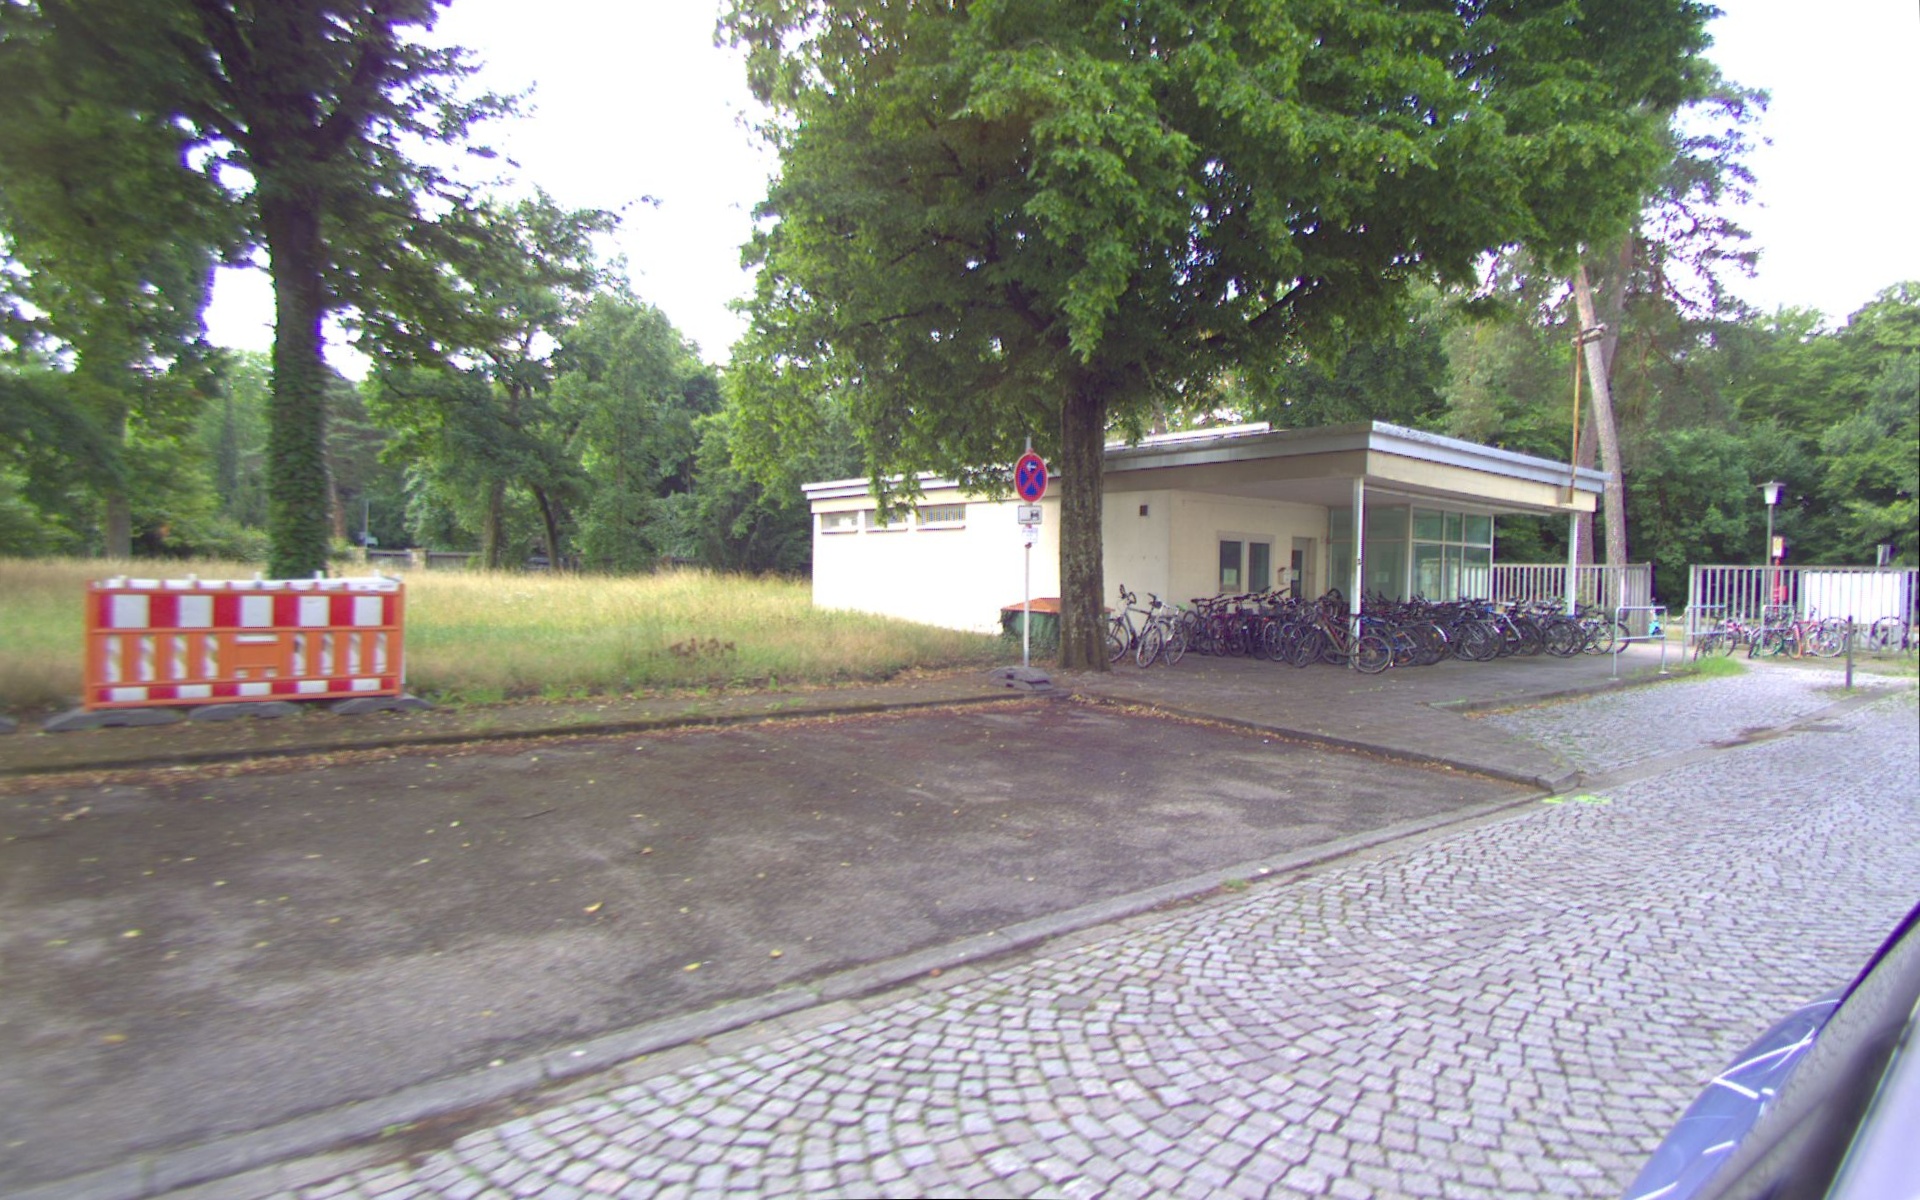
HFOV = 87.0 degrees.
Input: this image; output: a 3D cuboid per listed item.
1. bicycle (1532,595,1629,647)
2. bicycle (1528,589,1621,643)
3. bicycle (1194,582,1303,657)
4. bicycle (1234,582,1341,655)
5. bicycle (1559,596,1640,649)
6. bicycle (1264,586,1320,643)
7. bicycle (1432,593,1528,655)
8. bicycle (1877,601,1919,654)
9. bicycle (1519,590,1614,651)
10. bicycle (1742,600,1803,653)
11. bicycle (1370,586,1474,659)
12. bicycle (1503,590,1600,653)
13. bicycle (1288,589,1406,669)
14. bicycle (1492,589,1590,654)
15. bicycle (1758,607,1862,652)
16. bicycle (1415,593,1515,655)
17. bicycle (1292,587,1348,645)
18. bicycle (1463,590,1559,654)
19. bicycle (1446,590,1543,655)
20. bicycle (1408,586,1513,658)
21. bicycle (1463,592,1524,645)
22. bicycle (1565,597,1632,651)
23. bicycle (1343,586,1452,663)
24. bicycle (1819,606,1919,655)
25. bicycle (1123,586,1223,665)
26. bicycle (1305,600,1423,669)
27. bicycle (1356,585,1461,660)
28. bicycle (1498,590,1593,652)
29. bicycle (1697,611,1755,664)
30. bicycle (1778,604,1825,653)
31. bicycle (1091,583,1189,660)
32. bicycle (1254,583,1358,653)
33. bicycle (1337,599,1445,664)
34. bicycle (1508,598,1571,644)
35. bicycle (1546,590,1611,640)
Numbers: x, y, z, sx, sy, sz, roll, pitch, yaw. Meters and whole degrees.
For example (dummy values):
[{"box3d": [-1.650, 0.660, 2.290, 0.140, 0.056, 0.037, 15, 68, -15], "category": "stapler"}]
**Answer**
[{"box3d": [13.544, 0.448, 22.110, 1.723, 1.059, 0.453, 1, 1, 13], "category": "bicycle"}, {"box3d": [13.739, 0.352, 22.656, 1.711, 1.146, 0.473, 1, 1, 7], "category": "bicycle"}, {"box3d": [5.079, 0.320, 17.895, 0.598, 1.179, 1.743, 1, 3, -43], "category": "bicycle"}, {"box3d": [5.939, 0.316, 18.437, 0.598, 1.179, 1.743, 1, 3, -43], "category": "bicycle"}, {"box3d": [13.588, 0.468, 21.520, 1.391, 1.059, 0.336, 2, 1, 25], "category": "bicycle"}, {"box3d": [6.778, 0.271, 20.591, 0.478, 1.089, 1.657, 4, 3, 39], "category": "bicycle"}, {"box3d": [10.042, 0.444, 19.579, 1.592, 1.063, 0.320, 5, 3, 44], "category": "bicycle"}, {"box3d": [23.698, 0.704, 24.887, 1.650, 1.245, 0.737, 4, 3, 44], "category": "bicycle"}, {"box3d": [12.659, 0.413, 21.161, 1.613, 1.155, 0.350, 5, 3, 44], "category": "bicycle"}, {"box3d": [17.631, 0.562, 21.950, 1.537, 1.075, 0.692, 0, 2, -39], "category": "bicycle"}, {"box3d": [8.410, 0.381, 18.476, 1.627, 1.204, 0.414, 4, 3, 39], "category": "bicycle"}, {"box3d": [11.853, 0.411, 20.322, 1.613, 1.155, 0.320, 5, 3, 44], "category": "bicycle"}, {"box3d": [6.064, 0.437, 15.925, 1.673, 1.122, 0.334, 4, 3, 38], "category": "bicycle"}, {"box3d": [11.527, 0.412, 20.123, 1.613, 1.155, 0.320, 5, 3, 44], "category": "bicycle"}, {"box3d": [20.634, 0.696, 24.609, 0.495, 0.951, 1.865, 0, 3, -44], "category": "bicycle"}, {"box3d": [9.573, 0.438, 19.230, 1.626, 1.063, 0.330, 4, 3, 37], "category": "bicycle"}, {"box3d": [7.186, 0.297, 20.189, 0.478, 1.089, 1.657, 4, 3, 39], "category": "bicycle"}, {"box3d": [10.950, 0.414, 20.156, 1.613, 1.155, 0.320, 5, 3, 44], "category": "bicycle"}, {"box3d": [10.421, 0.417, 19.762, 1.592, 1.155, 0.320, 5, 3, 44], "category": "bicycle"}, {"box3d": [9.234, 0.381, 18.712, 1.627, 1.204, 0.492, 4, 3, 39], "category": "bicycle"}, {"box3d": [11.592, 0.386, 21.966, 1.800, 1.089, 0.491, 0, 3, -41], "category": "bicycle"}, {"box3d": [13.350, 0.491, 21.189, 1.144, 1.076, 0.284, 2, 1, 31], "category": "bicycle"}, {"box3d": [7.614, 0.408, 17.650, 1.627, 1.204, 0.467, 4, 3, 38], "category": "bicycle"}, {"box3d": [21.862, 0.709, 24.364, 0.380, 1.046, 1.731, 1, 2, -37], "category": "bicycle"}, {"box3d": [3.270, 0.370, 15.477, 1.606, 1.130, 0.598, 0, 3, -41], "category": "bicycle"}, {"box3d": [6.622, 0.545, 16.654, 1.725, 0.988, 0.754, 3, 2, 21], "category": "bicycle"}, {"box3d": [7.981, 0.384, 18.051, 1.627, 1.204, 0.414, 4, 3, 39], "category": "bicycle"}, {"box3d": [12.033, 0.409, 20.834, 1.613, 1.155, 0.350, 5, 3, 44], "category": "bicycle"}, {"box3d": [15.111, 0.718, 19.949, 1.625, 0.964, 0.535, -1, 2, -39], "category": "bicycle"}, {"box3d": [19.110, 0.631, 22.963, 1.701, 1.070, 0.474, 0, 2, -39], "category": "bicycle"}, {"box3d": [2.852, 0.325, 15.953, 1.606, 1.130, 0.598, 0, 3, -41], "category": "bicycle"}, {"box3d": [6.519, 0.311, 19.158, 0.598, 1.179, 1.743, 1, 3, -43], "category": "bicycle"}, {"box3d": [7.268, 0.520, 17.114, 1.616, 0.988, 0.320, 3, 2, 21], "category": "bicycle"}, {"box3d": [13.405, 0.479, 23.414, 1.328, 1.023, 0.406, 1, 1, -16], "category": "bicycle"}, {"box3d": [14.778, 0.354, 24.163, 1.648, 1.153, 0.649, 1, 1, -33], "category": "bicycle"}]
